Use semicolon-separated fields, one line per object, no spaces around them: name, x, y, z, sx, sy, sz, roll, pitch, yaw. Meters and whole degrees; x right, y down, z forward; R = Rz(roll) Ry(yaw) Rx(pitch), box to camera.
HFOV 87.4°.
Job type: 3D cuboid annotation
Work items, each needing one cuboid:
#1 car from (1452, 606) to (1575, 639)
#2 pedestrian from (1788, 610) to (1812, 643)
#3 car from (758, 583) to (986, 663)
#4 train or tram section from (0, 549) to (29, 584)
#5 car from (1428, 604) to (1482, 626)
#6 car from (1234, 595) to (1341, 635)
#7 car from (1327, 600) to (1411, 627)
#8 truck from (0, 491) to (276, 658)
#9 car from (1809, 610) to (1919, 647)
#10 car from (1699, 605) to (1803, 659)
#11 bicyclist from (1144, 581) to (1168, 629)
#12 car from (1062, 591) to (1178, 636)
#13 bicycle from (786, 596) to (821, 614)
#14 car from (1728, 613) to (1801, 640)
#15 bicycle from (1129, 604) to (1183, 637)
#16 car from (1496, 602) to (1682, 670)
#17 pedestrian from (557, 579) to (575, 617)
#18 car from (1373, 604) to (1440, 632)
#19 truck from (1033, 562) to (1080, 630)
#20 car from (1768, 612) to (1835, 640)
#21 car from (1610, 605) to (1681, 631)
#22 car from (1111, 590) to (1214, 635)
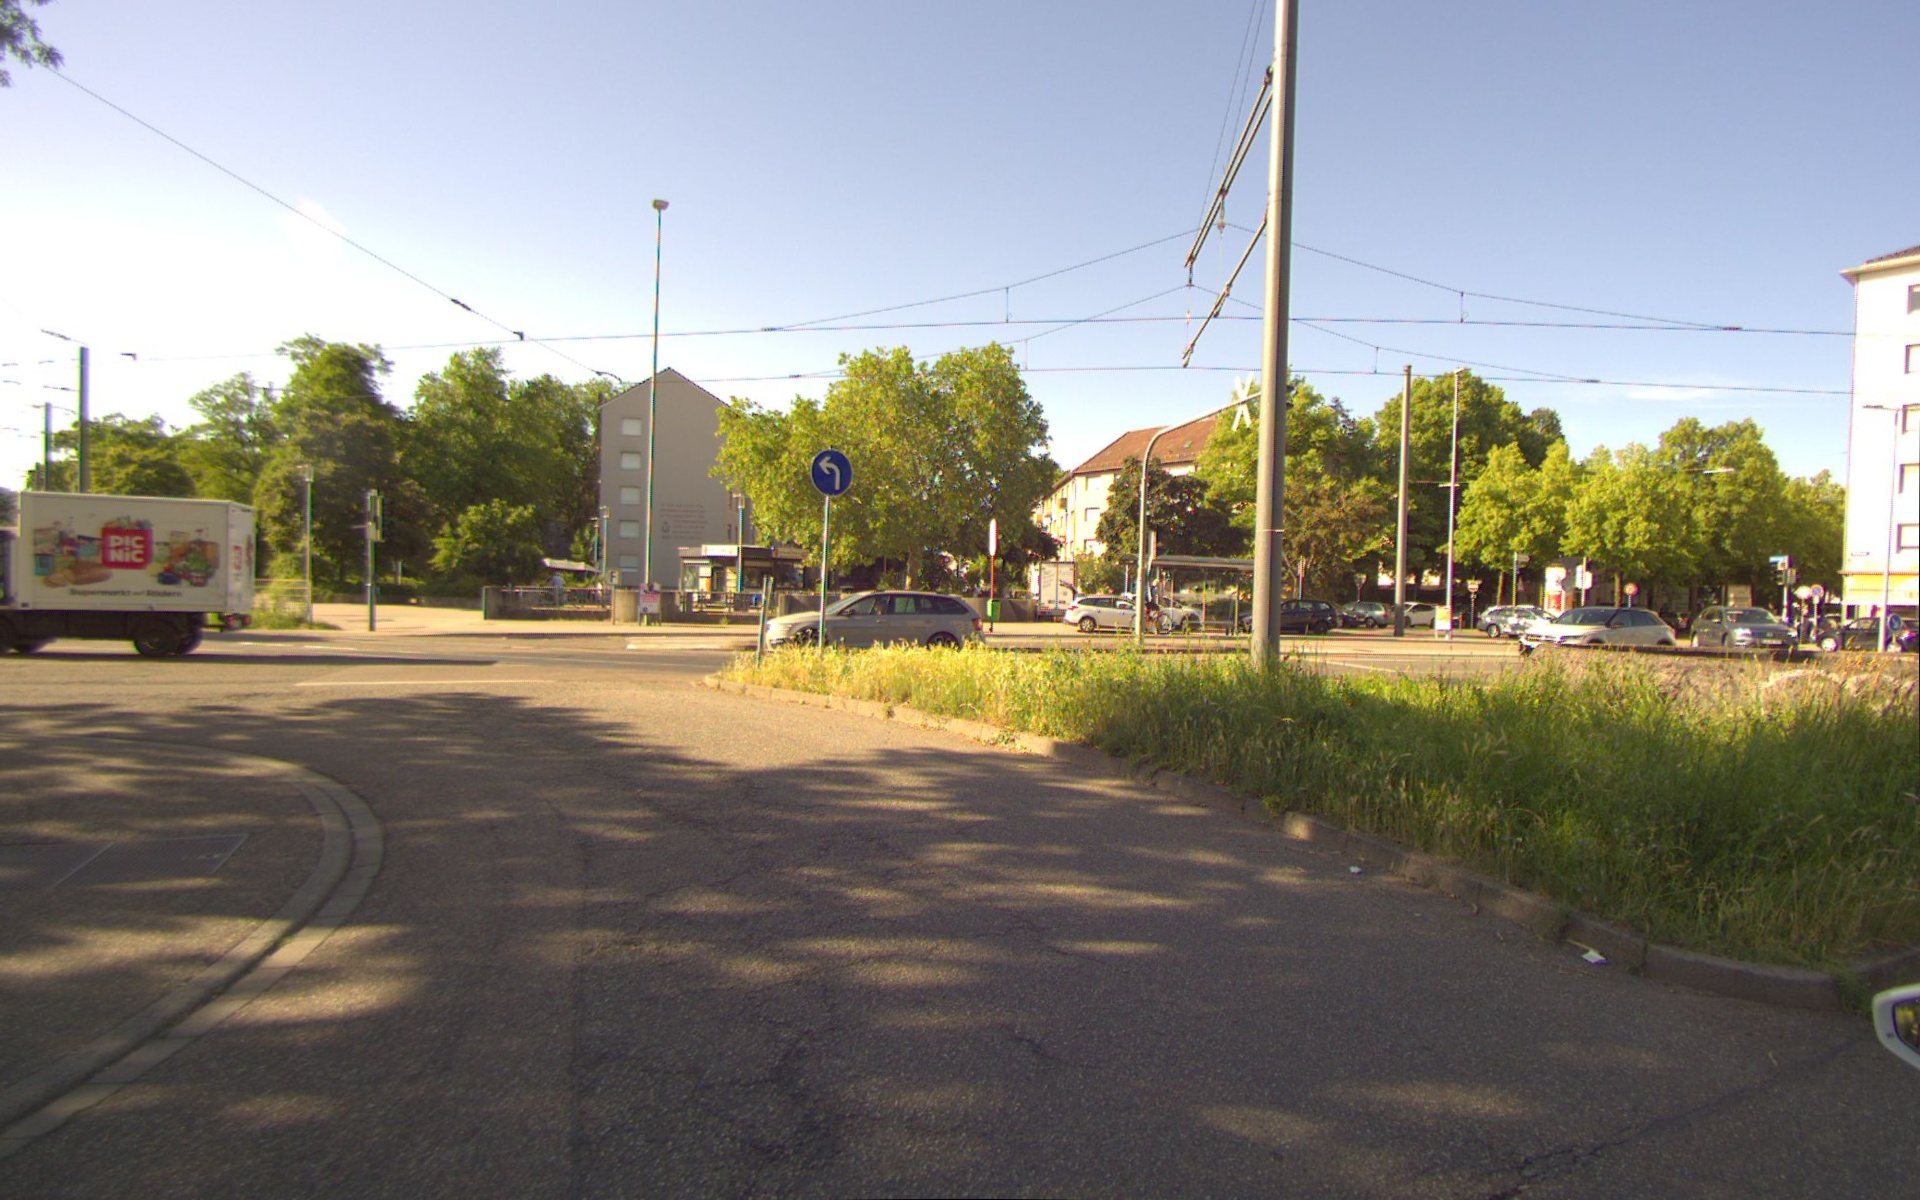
car;25.741;1.032;46.877;1.716;1.461;4.838;2;-1;-33
pedestrian;42.837;1.320;51.221;0.780;1.643;0.827;1;1;33
car;-1.801;0.466;20.377;4.333;1.468;1.661;2;1;-19
train or tram section;-87.522;-3.104;91.598;2.449;2.979;19.619;1;1;-39
car;31.923;0.961;64.762;3.665;1.311;1.584;1;0;-35
car;13.872;0.633;42.600;3.939;1.509;1.759;1;4;-13
car;22.781;0.737;55.974;3.934;1.259;1.993;3;1;35
truck;-13.617;-0.373;16.068;4.049;2.459;1.785;2;1;-22
car;35.589;1.080;39.124;1.665;1.270;3.621;2;1;-8
car;26.545;1.005;33.876;1.726;1.635;4.718;2;1;26
bicyclist;6.384;0.156;32.736;0.662;1.551;0.614;1;2;1
car;6.424;0.520;40.544;4.457;1.565;1.873;2;3;9
bicycle;-7.847;0.243;50.373;1.651;0.850;0.548;2;1;13
car;42.366;1.391;52.863;3.960;1.328;1.980;1;1;-35
bicycle;6.371;0.672;32.751;1.625;1.015;0.614;1;2;0
car;16.156;0.922;25.800;4.327;1.583;1.988;1;1;-25
pedestrian;-19.563;-0.115;49.854;0.715;1.854;0.558;2;1;-14
car;27.422;1.109;61.668;4.180;1.639;1.750;1;1;-32
truck;4.648;-0.208;47.709;1.959;3.035;4.831;1;1;8
car;48.491;1.498;57.861;3.897;1.533;1.924;1;1;-34
car;46.552;1.189;68.328;1.961;1.561;3.998;2;1;-3
car;8.636;0.514;42.958;3.926;1.741;1.761;1;4;-8
